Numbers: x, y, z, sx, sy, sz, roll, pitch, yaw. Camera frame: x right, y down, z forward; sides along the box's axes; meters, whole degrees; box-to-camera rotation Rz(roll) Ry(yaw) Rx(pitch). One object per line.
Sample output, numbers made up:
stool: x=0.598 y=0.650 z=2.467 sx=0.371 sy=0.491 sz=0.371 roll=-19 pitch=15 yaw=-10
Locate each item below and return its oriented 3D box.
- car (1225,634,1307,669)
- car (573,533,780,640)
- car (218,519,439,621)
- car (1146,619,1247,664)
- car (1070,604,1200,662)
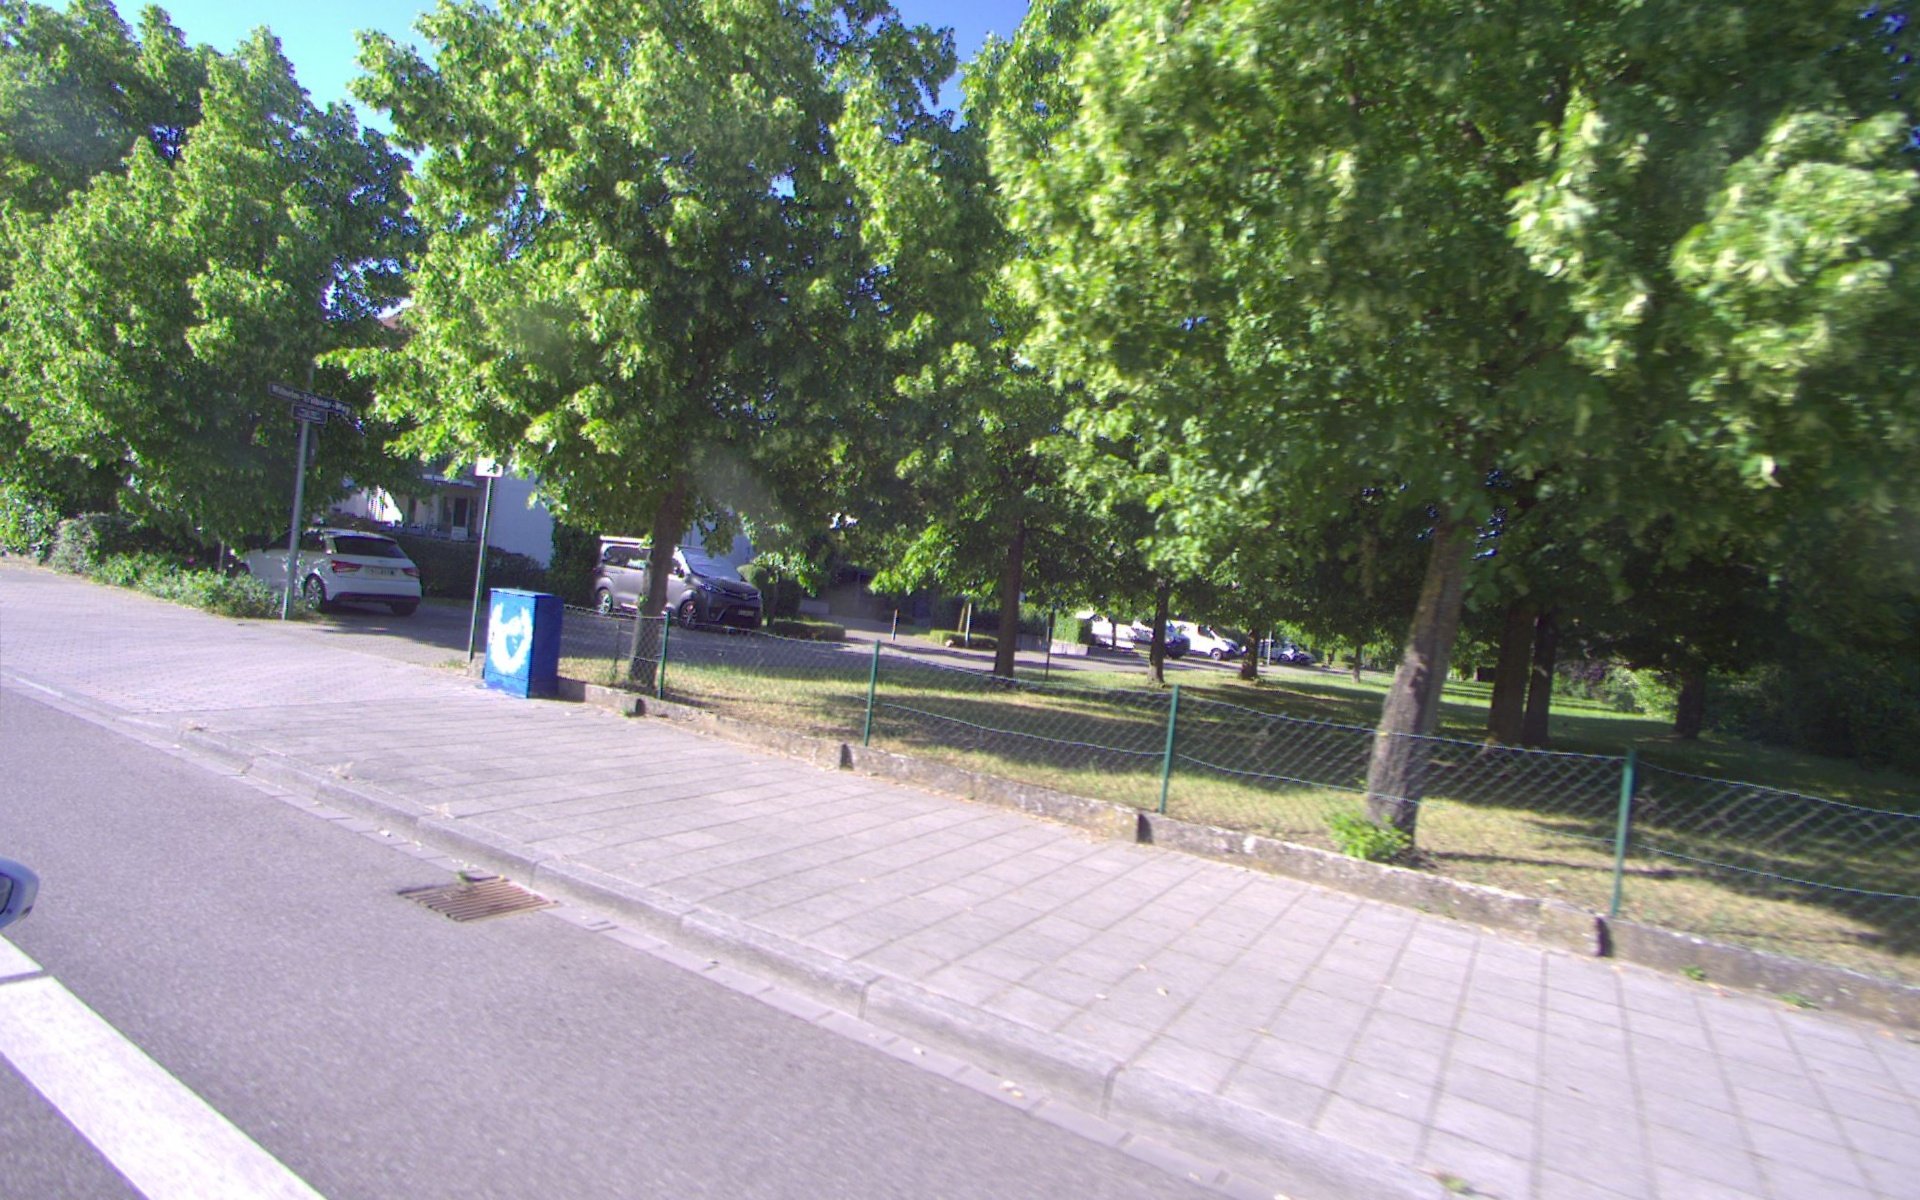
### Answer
car: x=21.185 y=3.537 z=69.718 sx=4.999 sy=1.750 sz=1.873 roll=7 pitch=0 yaw=34
car: x=-6.996 y=-0.367 z=24.602 sx=5.083 sy=1.991 sz=1.873 roll=7 pitch=0 yaw=34
car: x=-11.427 y=-0.550 z=18.159 sx=3.805 sy=1.405 sz=1.775 roll=7 pitch=1 yaw=30
car: x=13.678 y=2.397 z=58.248 sx=5.191 sy=1.890 sz=1.873 roll=7 pitch=0 yaw=34
car: x=8.538 y=1.590 z=49.365 sx=5.777 sy=2.065 sz=2.019 roll=7 pitch=0 yaw=34
